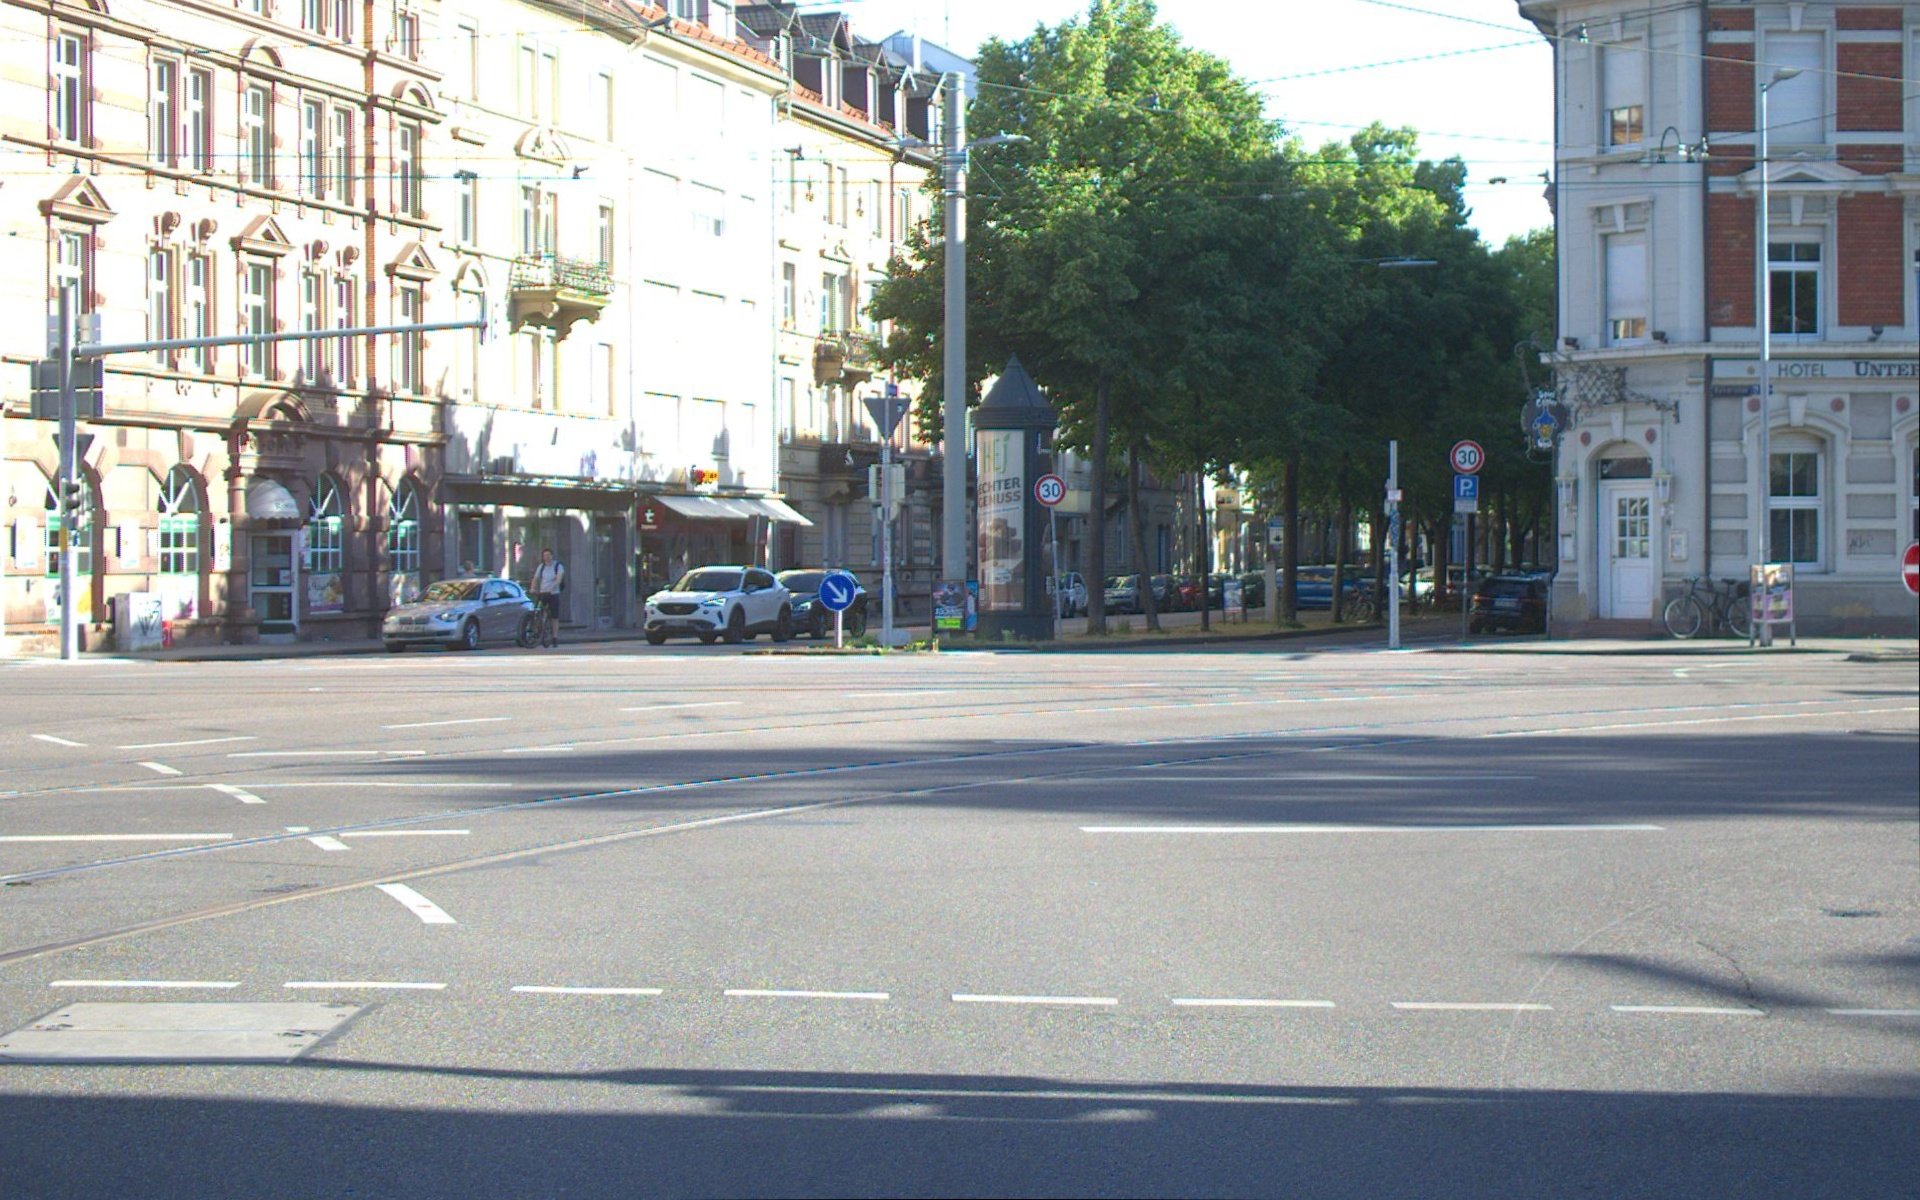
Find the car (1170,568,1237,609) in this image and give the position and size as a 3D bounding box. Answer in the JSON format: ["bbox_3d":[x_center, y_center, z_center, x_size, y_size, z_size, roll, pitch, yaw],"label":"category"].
[{"bbox_3d":[9.691,-0.460,136.348,1.766,1.544,4.387,0,1,16],"label":"car"}]

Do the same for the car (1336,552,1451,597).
[{"bbox_3d":[16.853,-1.005,133.641,3.993,1.700,1.997,0,1,30],"label":"car"}]

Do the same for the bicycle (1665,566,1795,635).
[{"bbox_3d":[12.857,0.015,57.406,2.085,1.120,0.367,1,0,-4],"label":"bicycle"}]

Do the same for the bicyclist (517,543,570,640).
[{"bbox_3d":[-7.879,-0.161,65.061,0.679,1.814,1.070,0,1,12],"label":"bicyclist"}]

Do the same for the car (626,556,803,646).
[{"bbox_3d":[-4.765,-0.015,67.340,1.995,1.678,4.387,0,1,17],"label":"car"}]

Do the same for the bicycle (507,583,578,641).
[{"bbox_3d":[-7.889,0.219,65.025,0.680,1.062,2.124,0,1,12],"label":"bicycle"}]

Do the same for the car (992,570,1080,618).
[{"bbox_3d":[2.481,-0.217,110.978,1.995,1.481,3.998,0,1,14],"label":"car"}]

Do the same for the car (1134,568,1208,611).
[{"bbox_3d":[8.025,-0.411,130.471,1.839,1.547,4.387,0,1,17],"label":"car"}]

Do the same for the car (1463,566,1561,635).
[{"bbox_3d":[13.266,-0.005,82.458,1.995,1.579,3.998,0,1,14],"label":"car"}]

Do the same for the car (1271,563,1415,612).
[{"bbox_3d":[12.860,-0.418,115.349,4.382,1.606,1.997,0,1,27],"label":"car"}]

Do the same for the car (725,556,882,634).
[{"bbox_3d":[-3.320,-0.132,73.853,1.995,1.606,4.387,0,1,17],"label":"car"}]

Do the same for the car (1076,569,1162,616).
[{"bbox_3d":[5.699,-0.292,122.681,1.995,1.607,4.387,0,1,17],"label":"car"}]

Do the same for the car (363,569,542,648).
[{"bbox_3d":[-9.853,0.150,67.064,1.900,1.450,3.997,0,1,17],"label":"car"}]
